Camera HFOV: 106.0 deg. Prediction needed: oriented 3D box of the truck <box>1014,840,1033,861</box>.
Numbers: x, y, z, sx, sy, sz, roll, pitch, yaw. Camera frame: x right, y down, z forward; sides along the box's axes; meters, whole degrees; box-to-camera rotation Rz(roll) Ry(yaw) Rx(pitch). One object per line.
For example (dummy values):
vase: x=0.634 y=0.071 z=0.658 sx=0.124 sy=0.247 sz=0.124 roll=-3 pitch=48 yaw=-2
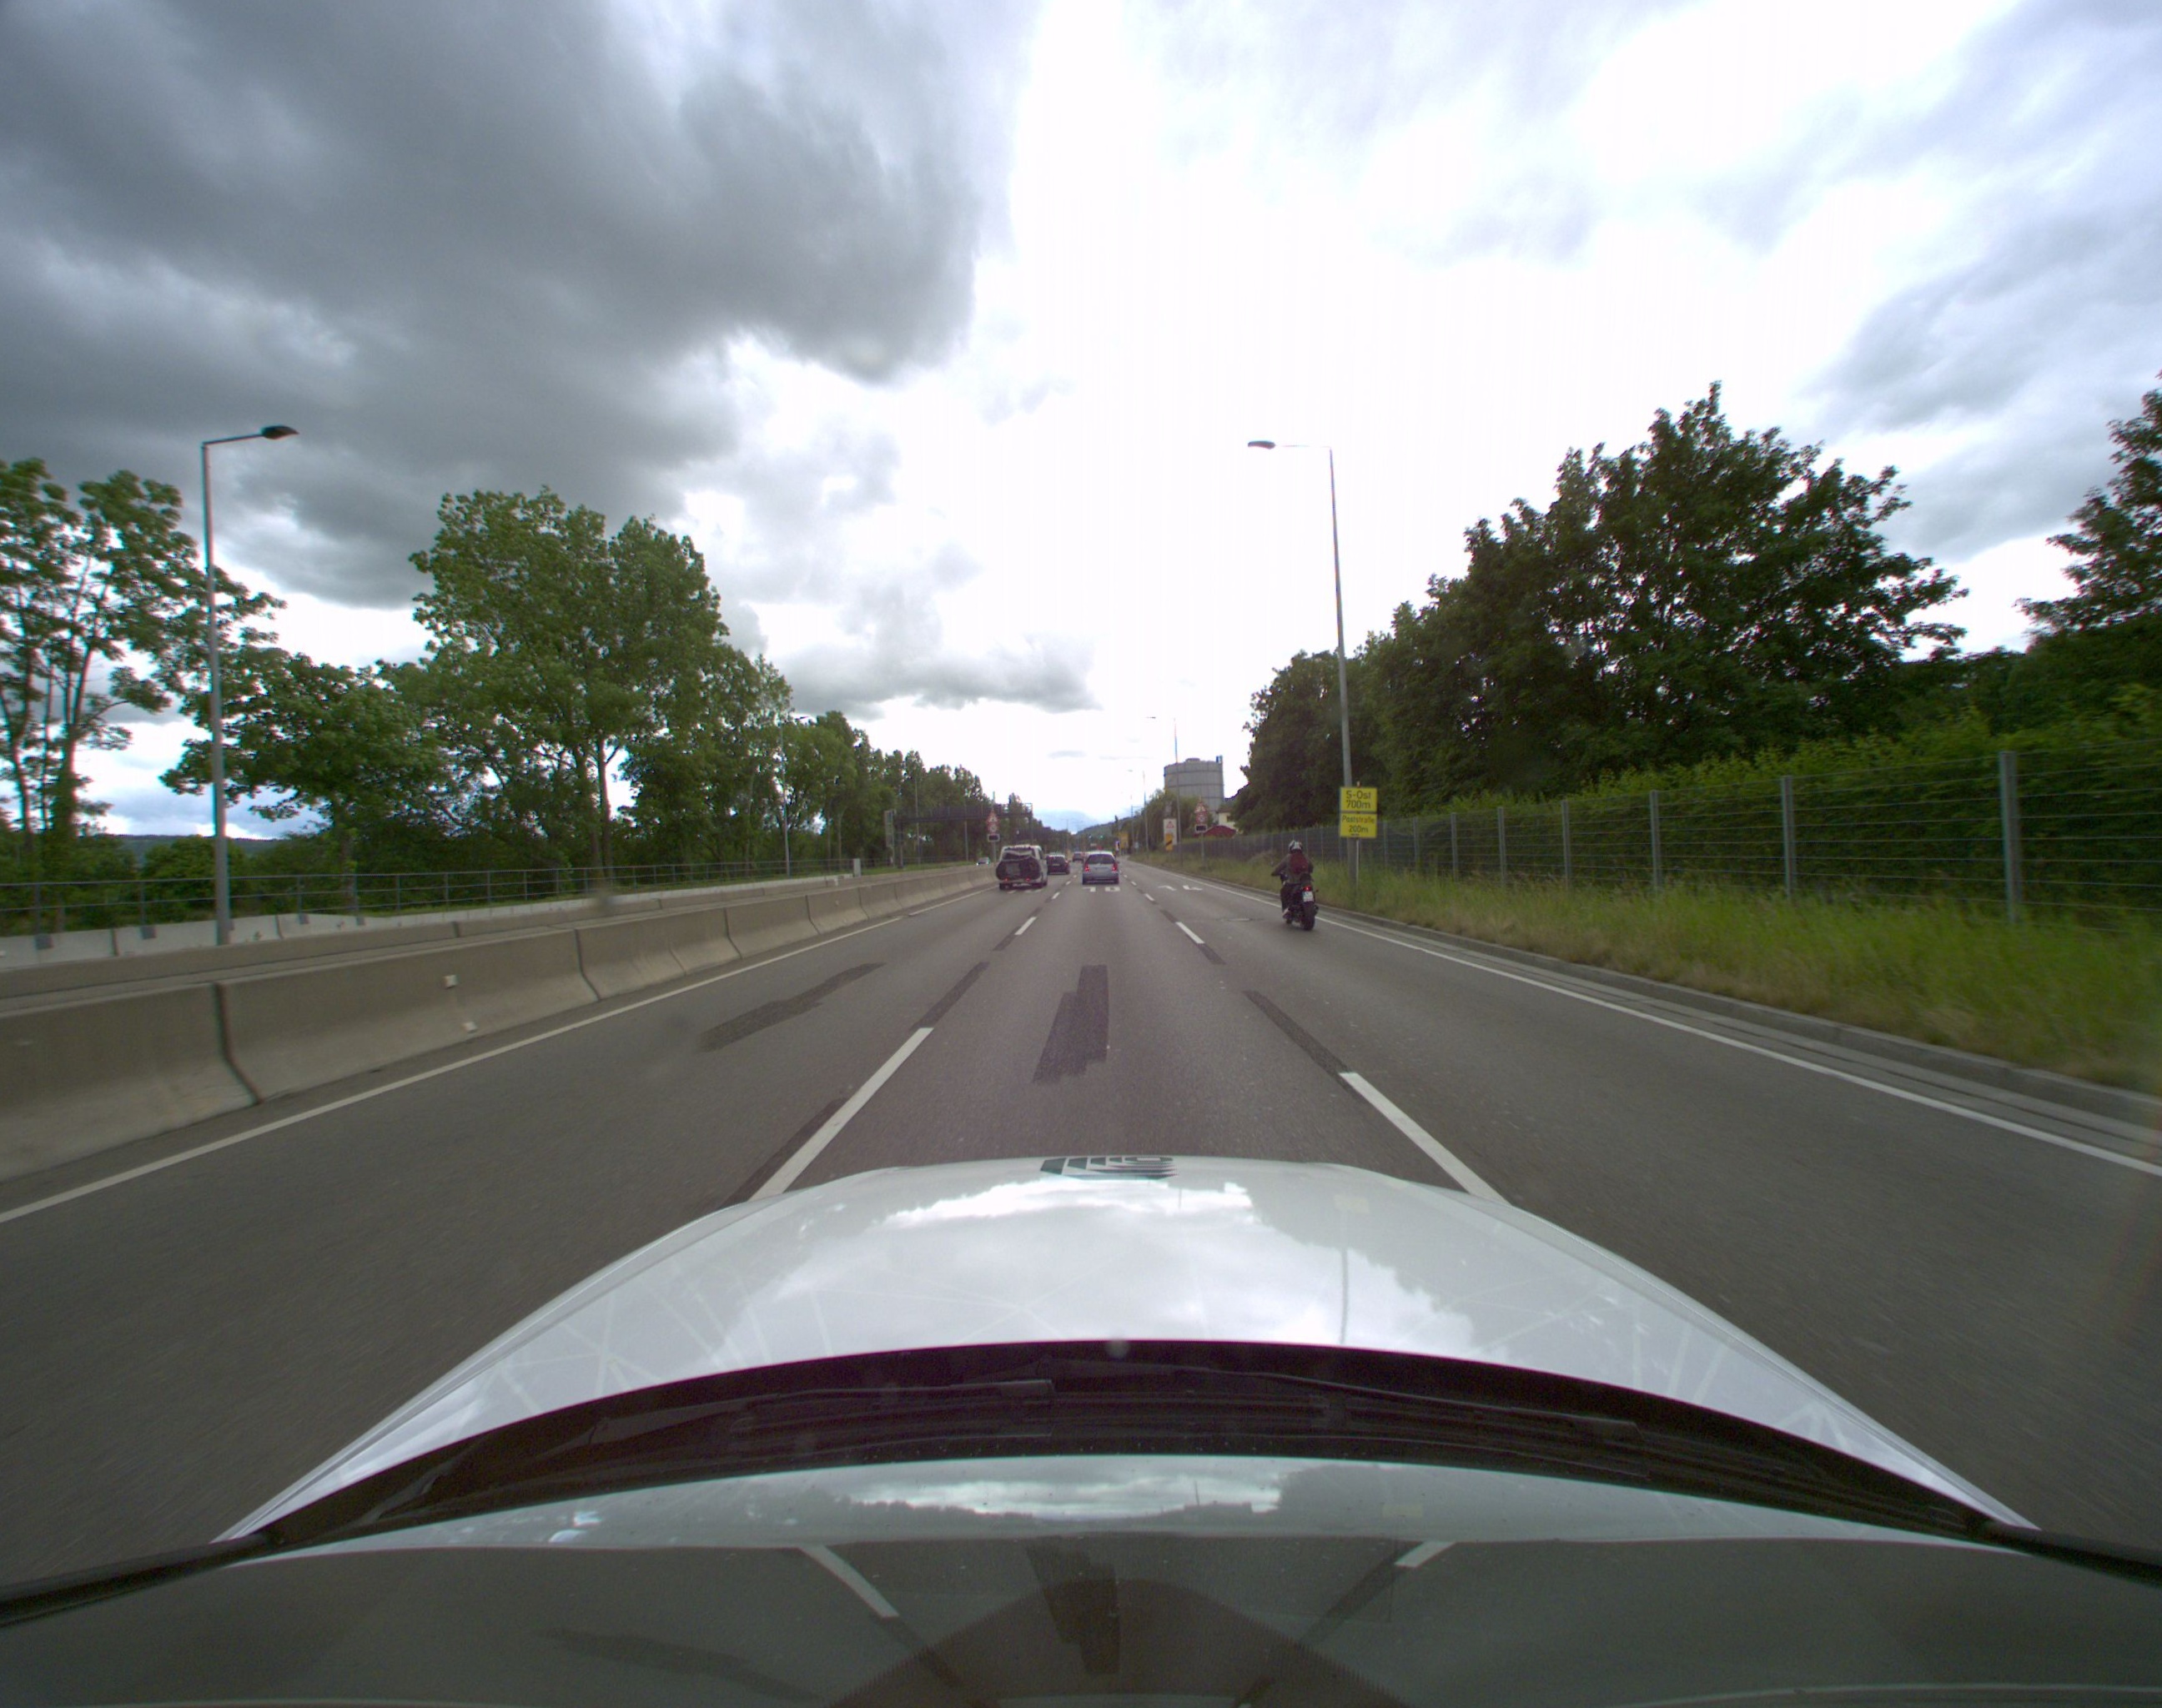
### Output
truck: x=-9.116 y=-0.521 z=128.886 sx=2.396 sy=3.107 sz=7.201 roll=0 pitch=0 yaw=1

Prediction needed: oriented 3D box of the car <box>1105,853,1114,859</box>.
car: x=6.696 y=0.459 z=189.056 sx=1.987 sy=1.552 sz=4.000 roll=0 pitch=0 yaw=0

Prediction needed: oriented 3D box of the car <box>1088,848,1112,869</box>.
car: x=1.601 y=0.363 z=66.599 sx=1.901 sy=1.684 sz=4.001 roll=0 pitch=0 yaw=2

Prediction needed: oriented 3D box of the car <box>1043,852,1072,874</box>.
car: x=-1.681 y=0.664 z=59.251 sx=1.987 sy=1.552 sz=4.000 roll=0 pitch=0 yaw=1

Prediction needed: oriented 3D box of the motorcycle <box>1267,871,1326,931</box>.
motorcycle: x=4.148 y=0.875 z=15.811 sx=0.703 sy=1.040 sz=2.028 roll=0 pitch=0 yaw=3

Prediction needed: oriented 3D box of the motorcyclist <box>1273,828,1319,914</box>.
motorcyclist: x=4.147 y=0.323 z=15.757 sx=0.682 sy=1.610 sz=0.846 roll=0 pitch=0 yaw=3

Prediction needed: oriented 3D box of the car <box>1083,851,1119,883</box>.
car: x=0.977 y=0.622 z=40.268 sx=1.704 sy=1.530 sz=4.000 roll=0 pitch=0 yaw=1

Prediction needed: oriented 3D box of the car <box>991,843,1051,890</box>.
car: x=-2.559 y=0.522 z=35.896 sx=2.207 sy=1.926 sz=5.002 roll=0 pitch=0 yaw=0

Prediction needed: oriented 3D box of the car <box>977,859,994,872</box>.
car: x=-14.549 y=1.762 z=124.649 sx=1.986 sy=2.014 sz=4.001 roll=0 pitch=0 yaw=1

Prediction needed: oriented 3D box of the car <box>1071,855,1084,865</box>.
car: x=-0.552 y=1.010 z=130.961 sx=1.987 sy=1.552 sz=4.000 roll=0 pitch=0 yaw=0
